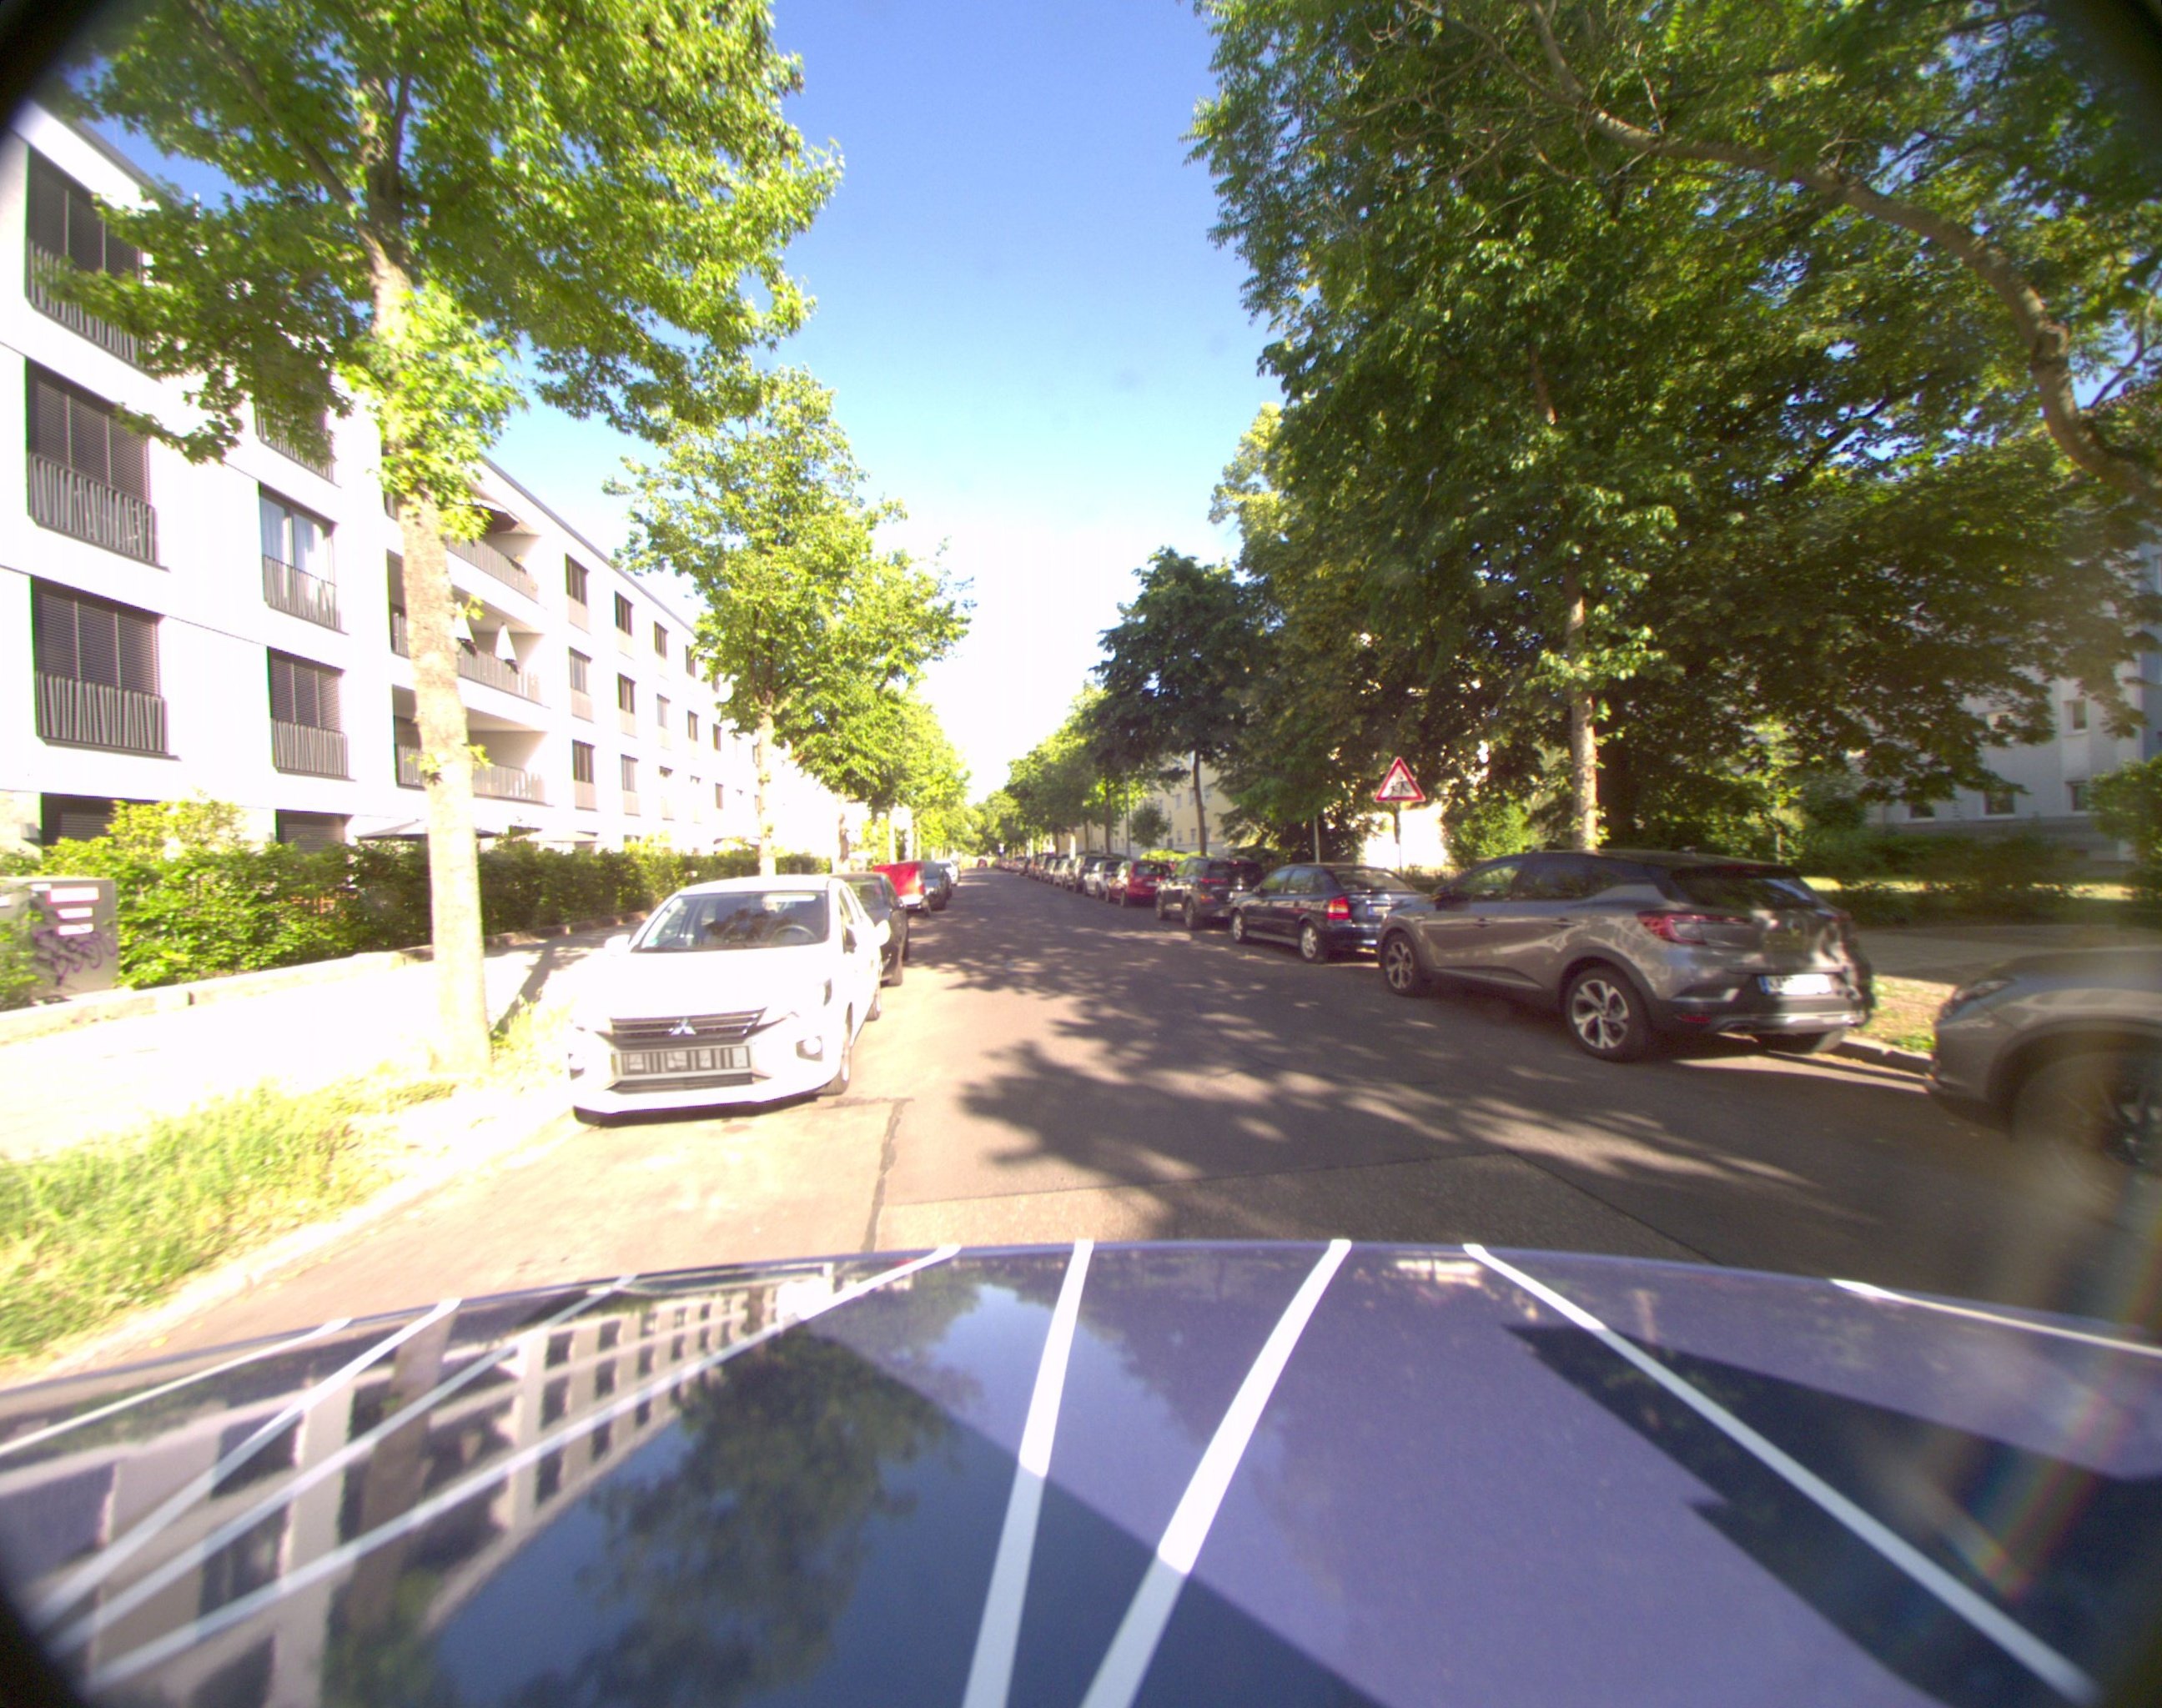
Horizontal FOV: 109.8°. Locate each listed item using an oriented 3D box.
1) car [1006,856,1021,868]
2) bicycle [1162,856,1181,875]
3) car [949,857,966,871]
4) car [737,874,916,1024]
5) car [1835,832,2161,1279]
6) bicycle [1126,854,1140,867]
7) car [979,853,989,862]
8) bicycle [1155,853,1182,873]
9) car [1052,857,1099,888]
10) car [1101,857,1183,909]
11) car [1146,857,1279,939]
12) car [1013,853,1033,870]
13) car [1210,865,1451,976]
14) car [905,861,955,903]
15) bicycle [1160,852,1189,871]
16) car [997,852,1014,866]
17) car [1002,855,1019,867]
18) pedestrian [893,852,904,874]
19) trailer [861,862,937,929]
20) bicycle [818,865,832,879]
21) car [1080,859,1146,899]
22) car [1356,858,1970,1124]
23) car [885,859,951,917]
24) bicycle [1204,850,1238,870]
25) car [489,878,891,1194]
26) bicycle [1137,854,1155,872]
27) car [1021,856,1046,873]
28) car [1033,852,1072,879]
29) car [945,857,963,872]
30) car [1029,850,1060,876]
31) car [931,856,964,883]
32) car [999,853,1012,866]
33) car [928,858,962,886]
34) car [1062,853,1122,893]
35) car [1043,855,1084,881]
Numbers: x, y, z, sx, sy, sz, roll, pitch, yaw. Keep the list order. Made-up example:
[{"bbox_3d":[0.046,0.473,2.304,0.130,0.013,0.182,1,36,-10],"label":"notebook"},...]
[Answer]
[{"bbox_3d":[-8.119,0.937,91.103,1.607,1.382,3.809,-2,0,-9],"label":"car"},{"bbox_3d":[5.265,0.675,44.421,0.574,1.055,1.932,-2,1,-8],"label":"bicycle"},{"bbox_3d":[-13.520,1.096,83.140,1.671,1.456,3.533,-1,0,-7],"label":"car"},{"bbox_3d":[-3.317,1.122,10.683,1.675,1.442,4.175,-4,1,-10],"label":"car"},{"bbox_3d":[5.138,0.743,1.672,1.773,1.678,4.810,-1,0,-10],"label":"car"},{"bbox_3d":[3.926,0.490,57.094,0.597,0.911,1.902,-1,0,-10],"label":"bicycle"},{"bbox_3d":[-16.352,0.576,127.818,1.666,1.456,3.445,-1,0,-7],"label":"car"},{"bbox_3d":[5.548,0.551,48.151,1.641,1.218,0.516,-3,1,-18],"label":"bicycle"},{"bbox_3d":[-0.330,0.910,39.525,1.712,1.472,4.485,-1,0,-10],"label":"car"},{"bbox_3d":[1.876,0.859,24.521,1.659,1.496,4.065,-1,0,-10],"label":"car"},{"bbox_3d":[2.833,0.880,17.371,1.711,1.568,4.478,-1,0,-8],"label":"car"},{"bbox_3d":[-5.917,0.748,77.439,1.865,1.718,3.997,0,0,-7],"label":"car"},{"bbox_3d":[3.693,0.901,12.233,1.791,1.344,4.477,-1,0,-10],"label":"car"},{"bbox_3d":[-6.226,1.092,31.715,1.723,1.508,4.341,-3,0,-8],"label":"car"},{"bbox_3d":[6.205,0.495,50.475,1.827,1.218,0.517,-2,1,-7],"label":"bicycle"},{"bbox_3d":[-10.705,0.717,107.785,1.892,1.797,3.910,-2,0,-12],"label":"car"},{"bbox_3d":[-9.534,0.898,102.471,1.807,1.470,3.996,-2,0,-11],"label":"car"},{"bbox_3d":[-17.209,0.825,71.641,0.908,2.002,1.005,-1,1,-8],"label":"pedestrian"},{"bbox_3d":[-4.982,1.090,21.142,1.579,1.569,3.190,-4,1,-7],"label":"trailer"},{"bbox_3d":[-17.523,1.225,52.016,0.565,0.889,1.608,-2,0,-8],"label":"bicycle"},{"bbox_3d":[1.148,0.913,29.056,1.659,1.365,4.185,-1,0,-10],"label":"car"},{"bbox_3d":[4.424,0.832,6.856,1.775,1.522,4.416,-2,0,-8],"label":"car"},{"bbox_3d":[-5.393,1.048,25.598,1.798,1.634,4.815,-4,1,-9],"label":"car"},{"bbox_3d":[9.041,0.376,48.983,1.958,1.218,0.776,-2,1,-11],"label":"bicycle"},{"bbox_3d":[-2.610,1.039,6.170,1.738,1.478,4.005,-2,0,-10],"label":"car"},{"bbox_3d":[4.363,0.586,51.011,0.597,1.183,2.259,-1,0,-10],"label":"bicycle"},{"bbox_3d":[-4.151,0.890,65.967,1.781,1.462,4.060,1,0,-8],"label":"car"},{"bbox_3d":[-1.930,0.699,50.121,1.800,1.676,4.522,-1,0,-12],"label":"car"},{"bbox_3d":[-13.073,1.098,78.377,1.671,1.456,3.533,-1,0,-7],"label":"car"},{"bbox_3d":[-2.702,0.622,55.260,1.799,1.839,4.862,-1,0,-9],"label":"car"},{"bbox_3d":[-9.022,0.991,51.665,1.903,1.638,4.858,-3,0,-6],"label":"car"},{"bbox_3d":[-11.204,0.765,112.673,1.714,1.752,3.709,-2,1,-9],"label":"car"},{"bbox_3d":[-8.271,1.053,45.877,1.787,1.509,4.682,-3,0,-13],"label":"car"},{"bbox_3d":[0.415,0.783,34.277,1.848,1.647,5.083,-1,0,-9],"label":"car"},{"bbox_3d":[-1.075,0.768,44.488,1.799,1.443,4.485,-1,0,-9],"label":"car"}]
